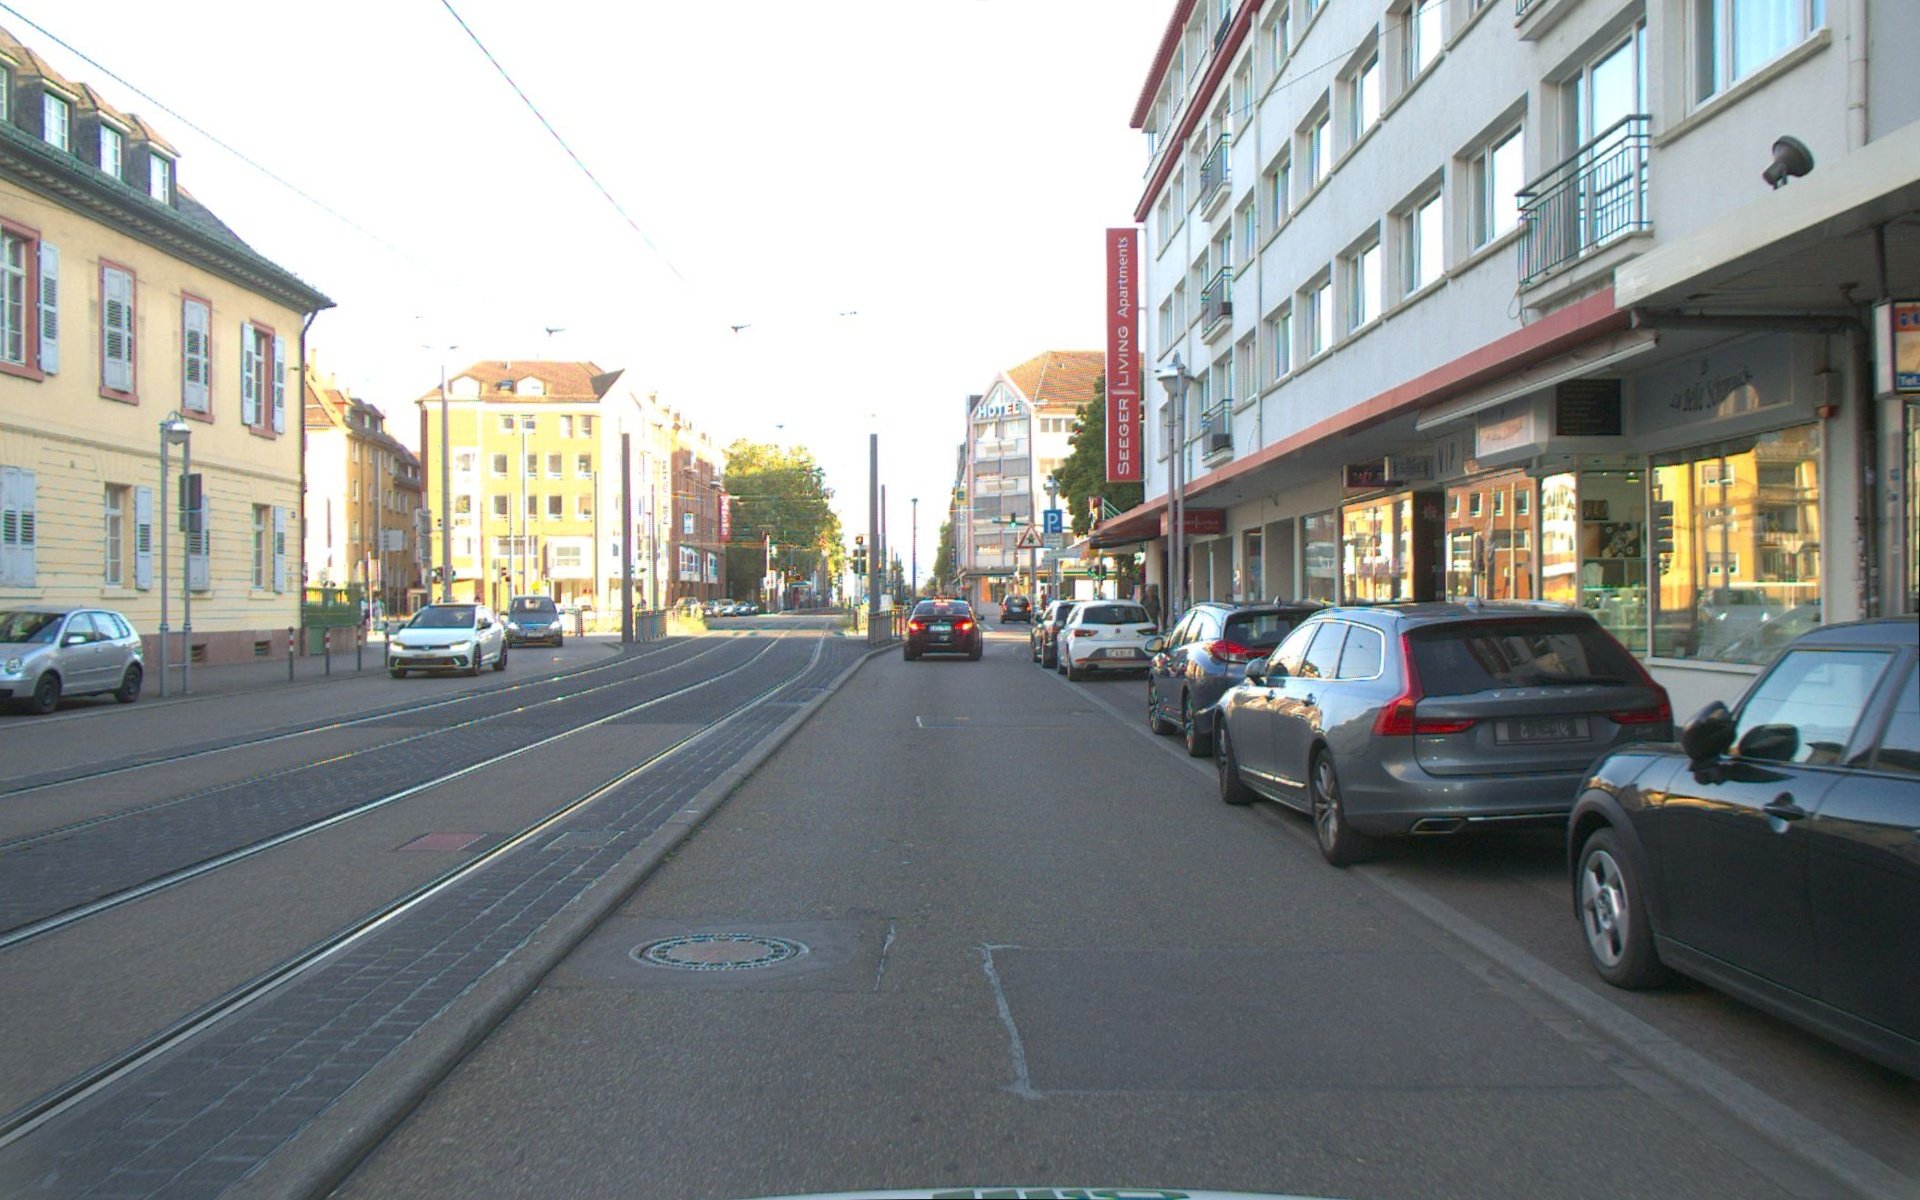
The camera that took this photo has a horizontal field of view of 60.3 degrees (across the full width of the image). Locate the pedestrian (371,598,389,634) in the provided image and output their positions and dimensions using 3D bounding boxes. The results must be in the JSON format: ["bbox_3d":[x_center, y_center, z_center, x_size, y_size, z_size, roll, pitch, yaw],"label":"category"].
[{"bbox_3d":[-30.894,0.855,88.070,0.870,1.900,0.970,0,0,-22],"label":"pedestrian"}]

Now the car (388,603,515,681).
[{"bbox_3d":[-10.658,0.838,34.932,1.771,1.538,4.030,-1,0,-6],"label":"car"}]

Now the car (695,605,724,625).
[{"bbox_3d":[-20.951,1.261,138.562,1.954,1.613,4.583,-1,0,-4],"label":"car"}]

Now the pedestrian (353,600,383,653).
[{"bbox_3d":[-18.131,0.804,50.697,0.718,1.612,0.952,-1,0,-11],"label":"pedestrian"}]

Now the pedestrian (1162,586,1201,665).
[{"bbox_3d":[5.090,0.583,38.019,0.714,1.771,0.863,-2,0,-1],"label":"pedestrian"}]

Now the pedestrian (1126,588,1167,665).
[{"bbox_3d":[4.383,0.615,38.899,0.810,1.748,0.843,-2,0,-1],"label":"pedestrian"}]

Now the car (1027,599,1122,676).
[{"bbox_3d":[2.469,0.781,36.698,1.700,1.538,4.685,-2,0,-1],"label":"car"}]

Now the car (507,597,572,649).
[{"bbox_3d":[-13.219,0.699,52.190,1.704,1.538,4.025,-1,0,-10],"label":"car"}]

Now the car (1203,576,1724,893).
[{"bbox_3d":[2.907,0.680,10.742,1.754,1.538,4.710,-2,0,-2],"label":"car"}]

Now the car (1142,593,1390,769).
[{"bbox_3d":[3.017,0.737,17.173,1.700,1.538,4.302,-2,0,-1],"label":"car"}]

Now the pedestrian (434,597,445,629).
[{"bbox_3d":[-30.611,0.767,97.261,0.492,1.900,0.562,1,0,-6],"label":"pedestrian"}]

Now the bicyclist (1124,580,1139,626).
[{"bbox_3d":[6.931,0.127,66.900,0.456,1.862,0.558,0,0,-9],"label":"bicyclist"}]

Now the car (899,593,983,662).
[{"bbox_3d":[-0.486,0.649,41.104,1.953,1.612,3.999,-1,0,-1],"label":"car"}]

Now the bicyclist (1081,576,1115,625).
[{"bbox_3d":[5.508,0.012,65.840,0.832,1.951,1.100,0,0,-38],"label":"bicyclist"}]

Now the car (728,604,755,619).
[{"bbox_3d":[-21.795,1.129,165.049,1.633,1.473,4.205,0,0,7],"label":"car"}]

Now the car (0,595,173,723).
[{"bbox_3d":[-13.343,0.775,24.128,1.776,1.645,4.213,2,0,-2],"label":"car"}]

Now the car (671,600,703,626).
[{"bbox_3d":[-21.088,0.982,127.965,1.954,1.934,4.808,-1,0,-4],"label":"car"}]

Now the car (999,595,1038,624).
[{"bbox_3d":[3.259,0.501,92.627,1.953,1.579,3.999,-1,0,-1],"label":"car"}]

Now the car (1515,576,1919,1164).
[{"bbox_3d":[3.329,0.693,5.321,1.651,1.538,4.034,-2,0,-1],"label":"car"}]

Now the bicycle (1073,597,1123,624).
[{"bbox_3d":[5.500,0.417,65.853,0.832,1.038,2.049,0,0,-38],"label":"bicycle"}]

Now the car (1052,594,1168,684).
[{"bbox_3d":[2.770,0.698,31.411,1.749,1.538,4.051,-2,0,-1],"label":"car"}]

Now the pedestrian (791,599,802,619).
[{"bbox_3d":[-16.843,0.934,170.400,0.968,2.049,0.725,1,-1,-3],"label":"pedestrian"}]
